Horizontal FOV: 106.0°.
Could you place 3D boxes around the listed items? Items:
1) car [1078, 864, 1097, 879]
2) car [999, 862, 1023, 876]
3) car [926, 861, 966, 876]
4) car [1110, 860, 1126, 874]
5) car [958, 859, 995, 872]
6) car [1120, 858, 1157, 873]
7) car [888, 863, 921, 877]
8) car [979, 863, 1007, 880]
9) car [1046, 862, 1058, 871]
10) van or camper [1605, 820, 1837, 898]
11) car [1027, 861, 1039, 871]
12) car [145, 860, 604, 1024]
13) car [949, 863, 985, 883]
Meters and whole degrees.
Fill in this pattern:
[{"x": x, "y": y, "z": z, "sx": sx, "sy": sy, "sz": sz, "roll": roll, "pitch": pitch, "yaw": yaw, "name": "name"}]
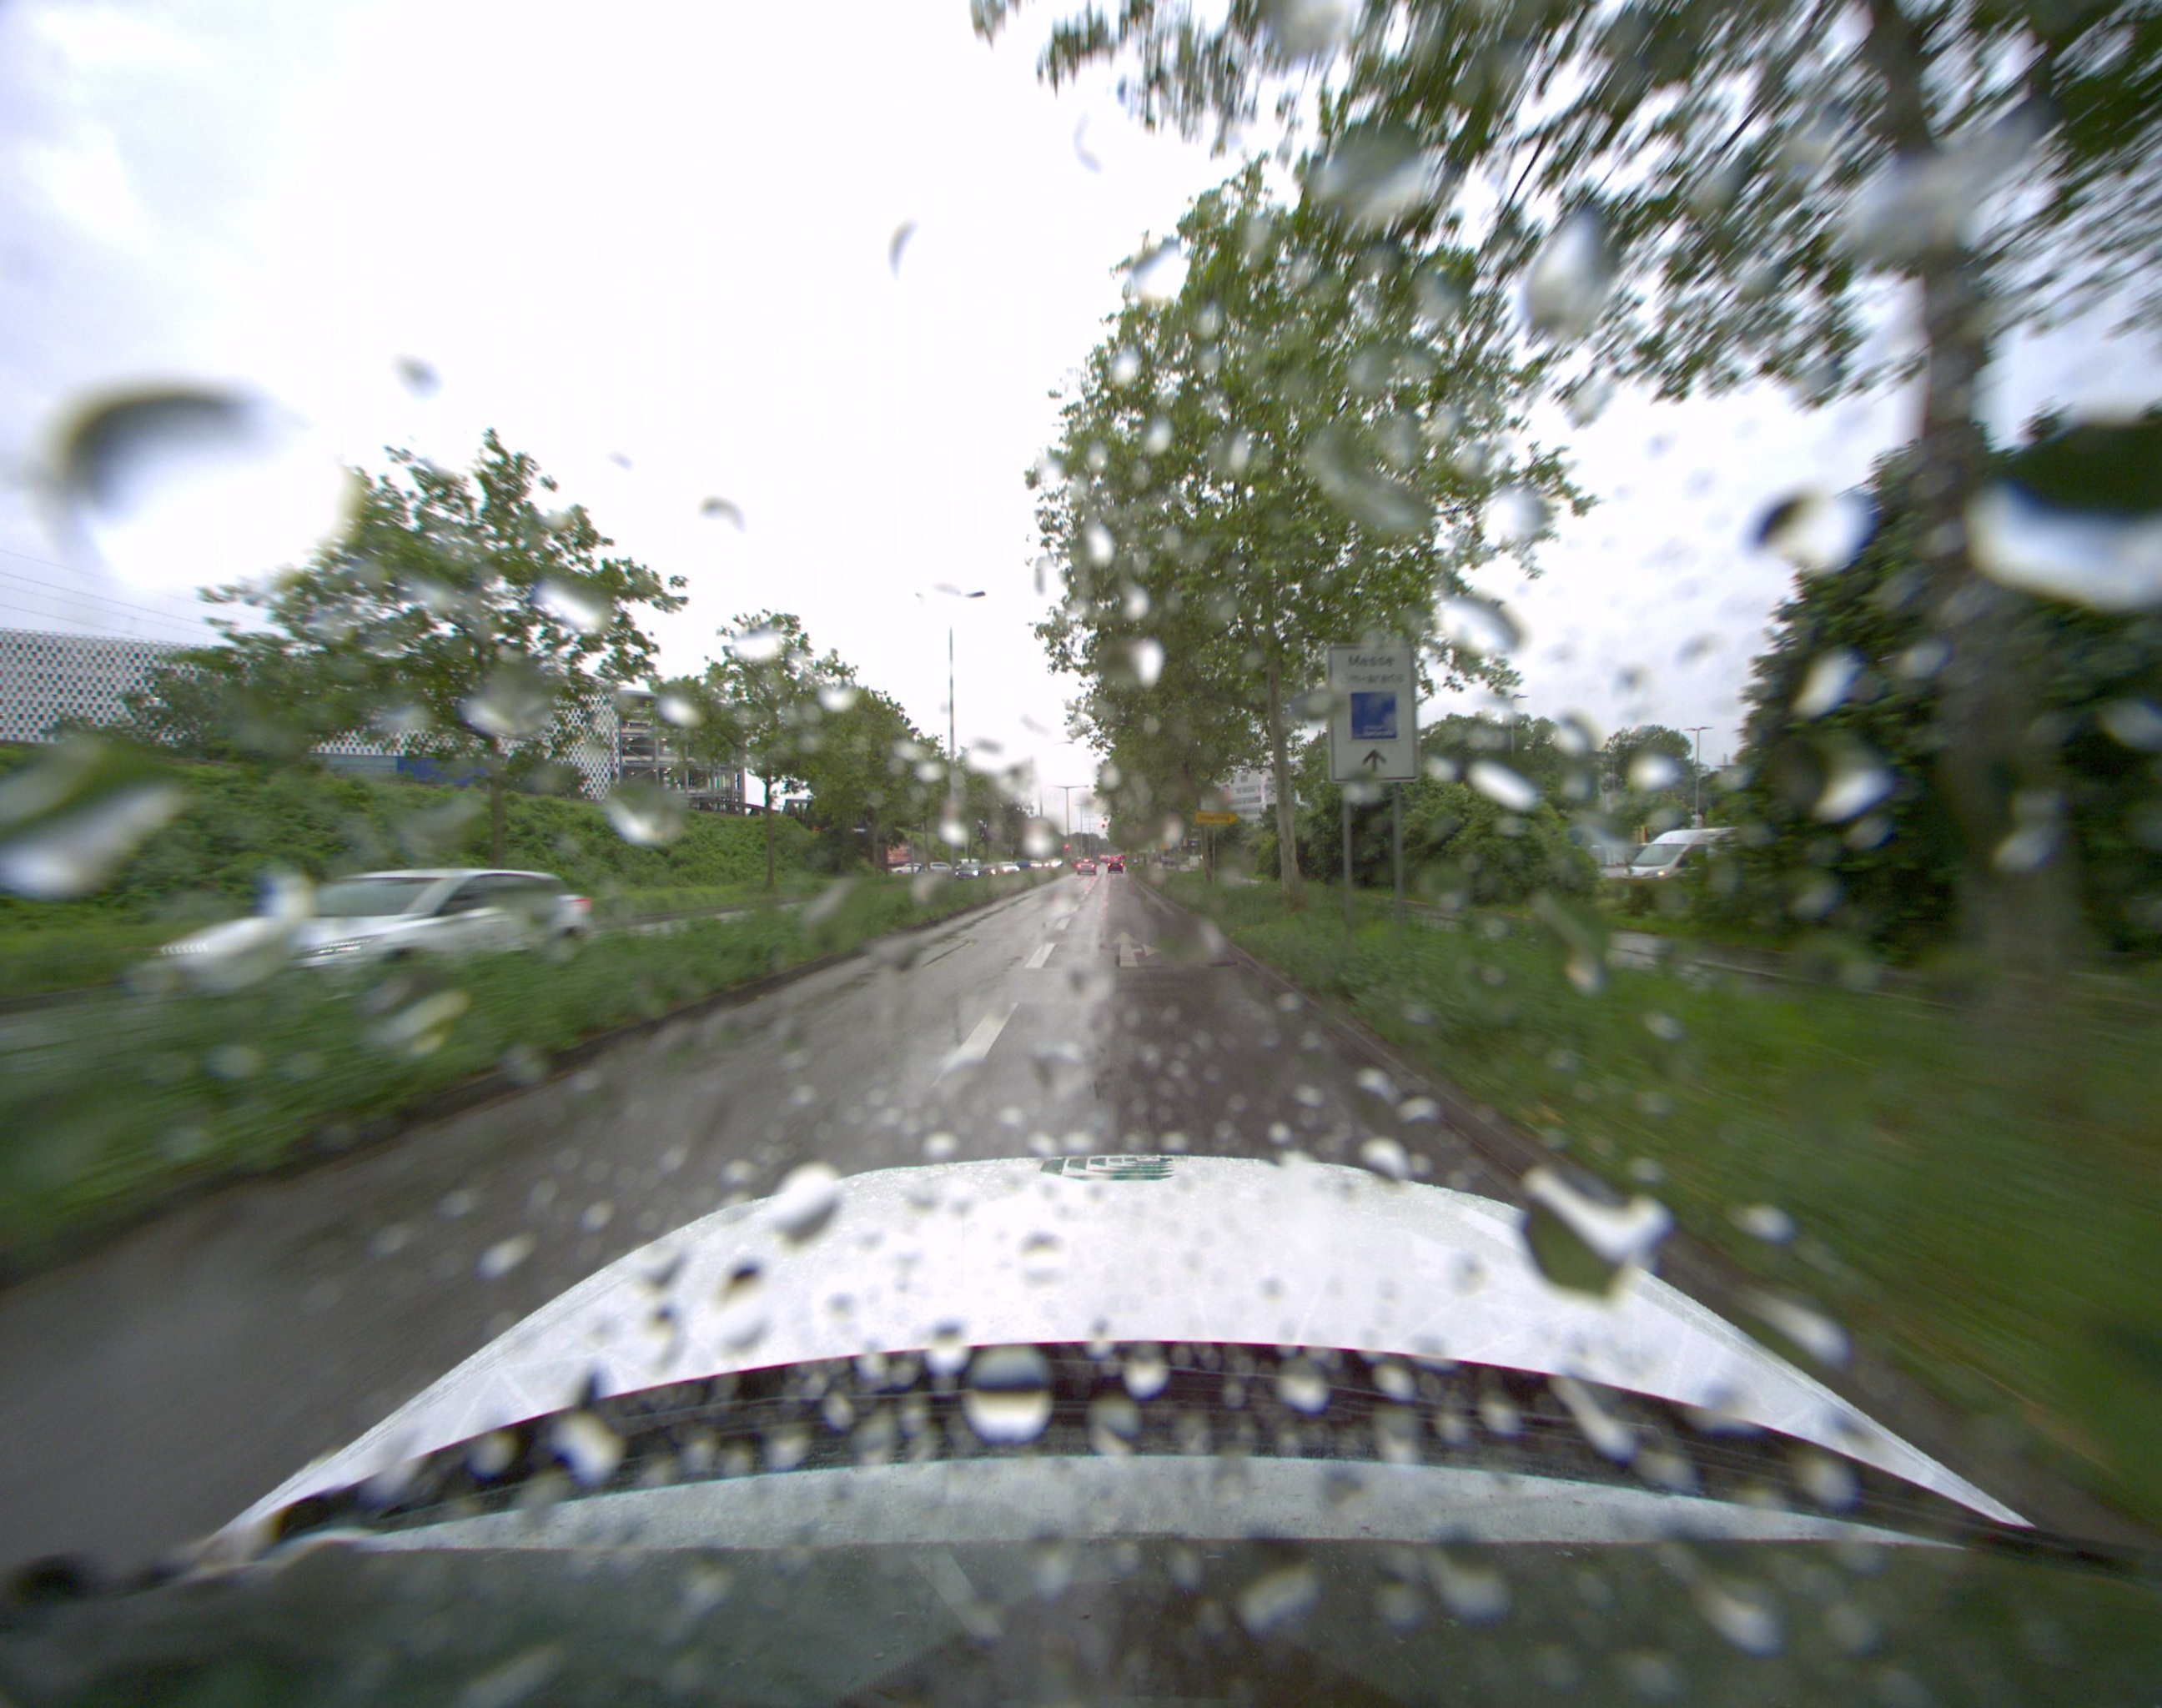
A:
[{"x": 0.671, "y": 1.753, "z": 80.845, "sx": 1.683, "sy": 1.433, "sz": 4.576, "roll": 0, "pitch": -1, "yaw": 2, "name": "car"}, {"x": -7.495, "y": 1.643, "z": 87.489, "sx": 1.923, "sy": 1.445, "sz": 4.659, "roll": 0, "pitch": -1, "yaw": 2, "name": "car"}, {"x": -15.774, "y": 1.722, "z": 95.129, "sx": 4.504, "sy": 1.589, "sz": 1.856, "roll": -1, "pitch": -1, "yaw": -10, "name": "car"}, {"x": 4.154, "y": 1.419, "z": 91.233, "sx": 1.789, "sy": 1.537, "sz": 4.389, "roll": 1, "pitch": -1, "yaw": 2, "name": "car"}, {"x": -13.198, "y": 1.419, "z": 102.899, "sx": 4.397, "sy": 1.537, "sz": 1.786, "roll": -1, "pitch": -1, "yaw": -27, "name": "car"}, {"x": 7.210, "y": 1.415, "z": 101.944, "sx": 4.408, "sy": 1.537, "sz": 1.782, "roll": -3, "pitch": 2, "yaw": -38, "name": "car"}, {"x": -23.426, "y": 2.117, "z": 108.126, "sx": 3.999, "sy": 1.846, "sz": 1.987, "roll": 1, "pitch": -1, "yaw": -19, "name": "car"}, {"x": -7.672, "y": 1.511, "z": 71.609, "sx": 1.923, "sy": 1.445, "sz": 3.709, "roll": 0, "pitch": -1, "yaw": 2, "name": "car"}, {"x": -5.037, "y": 2.129, "z": 139.555, "sx": 1.706, "sy": 1.530, "sz": 4.002, "roll": -1, "pitch": -1, "yaw": 2, "name": "car"}, {"x": 21.632, "y": 0.172, "z": 27.689, "sx": 6.342, "sy": 2.544, "sz": 1.999, "roll": 0, "pitch": -1, "yaw": -1, "name": "van or camper"}, {"x": -8.148, "y": 2.003, "z": 138.446, "sx": 1.706, "sy": 1.530, "sz": 4.002, "roll": -1, "pitch": -1, "yaw": 2, "name": "car"}, {"x": -7.763, "y": 0.831, "z": 9.635, "sx": 1.696, "sy": 1.495, "sz": 4.205, "roll": 0, "pitch": 0, "yaw": 1, "name": "car"}, {"x": -8.444, "y": 1.386, "z": 60.823, "sx": 1.923, "sy": 1.445, "sz": 4.498, "roll": 0, "pitch": -1, "yaw": 2, "name": "car"}]
